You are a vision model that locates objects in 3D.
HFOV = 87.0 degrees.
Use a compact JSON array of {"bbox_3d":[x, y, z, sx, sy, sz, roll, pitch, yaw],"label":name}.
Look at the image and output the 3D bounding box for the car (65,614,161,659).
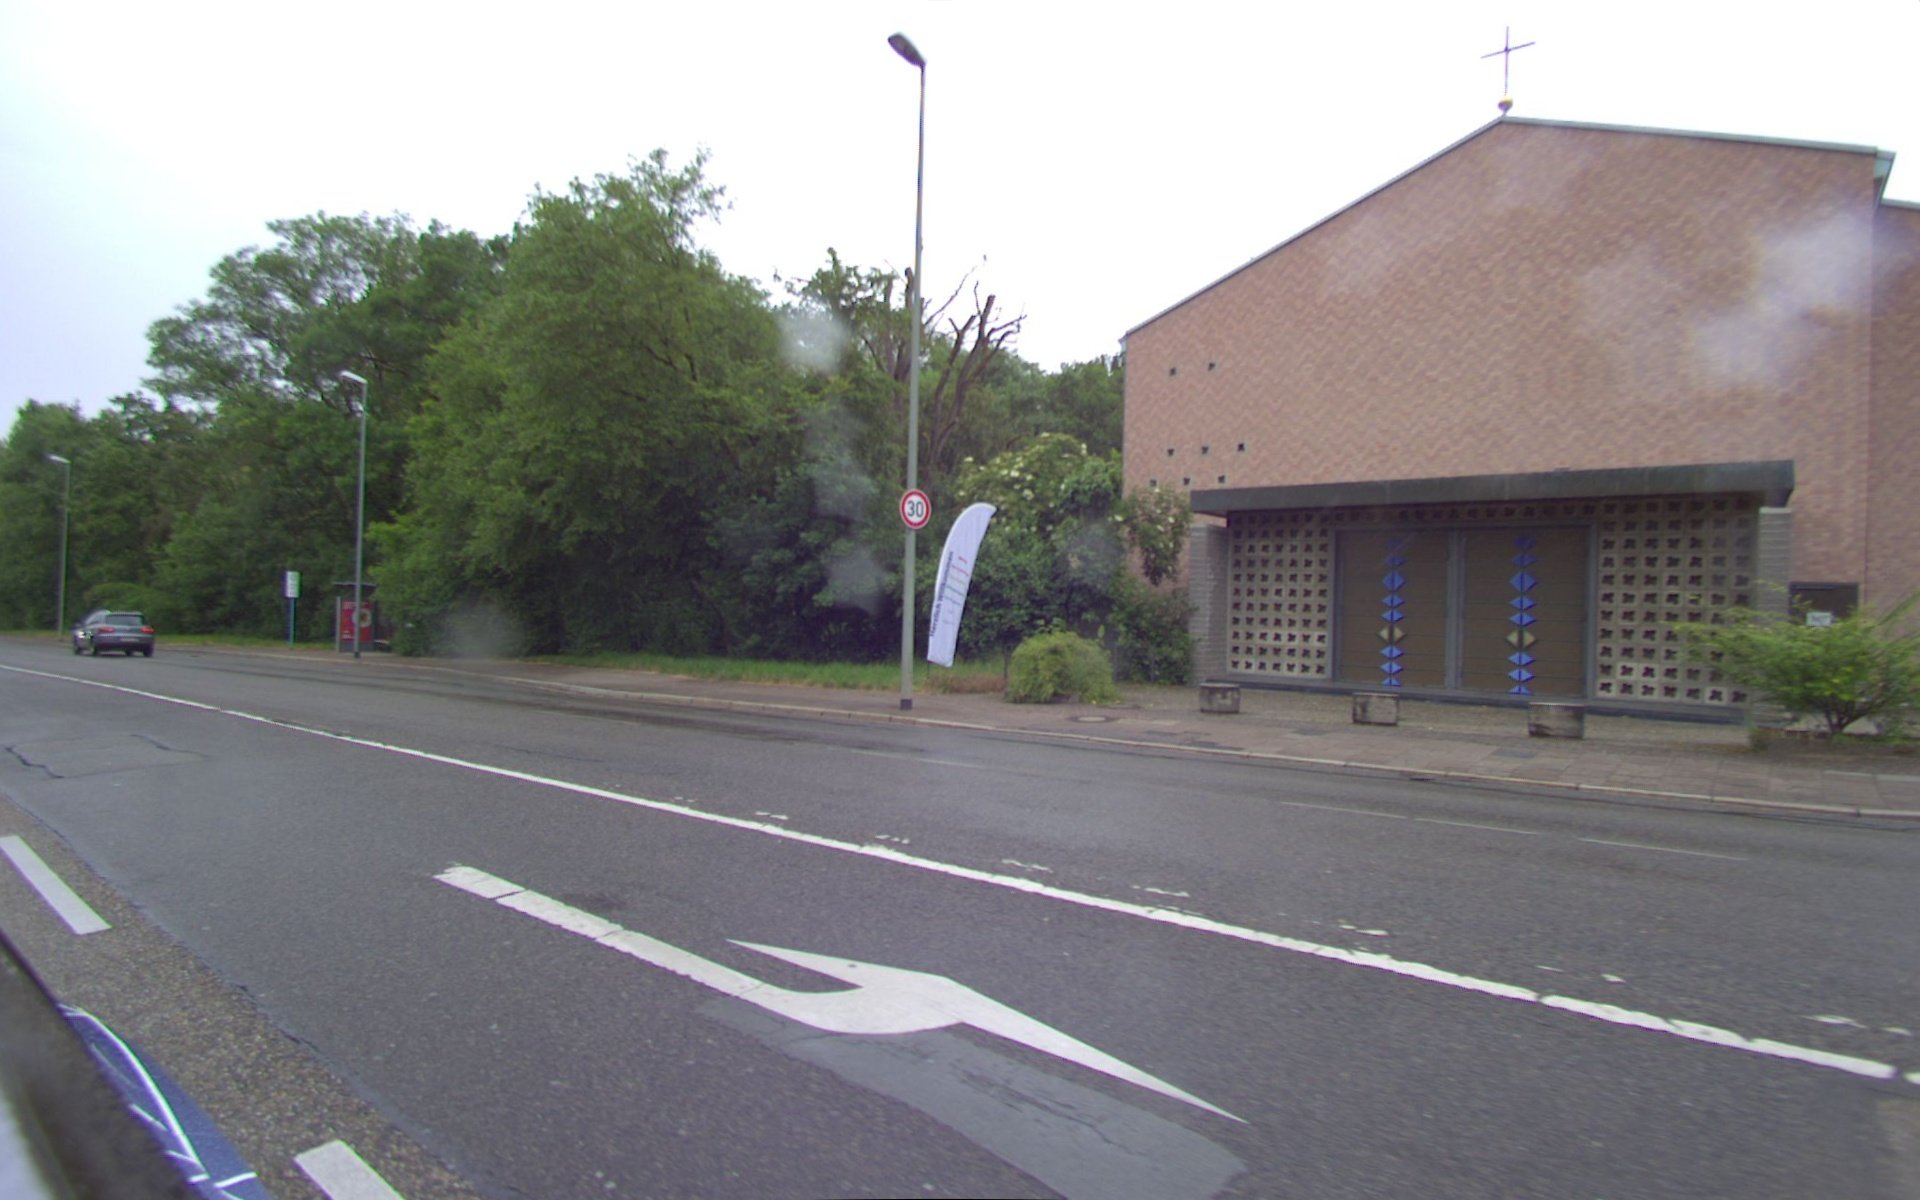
[{"bbox_3d":[-31.838,1.348,38.021,4.311,1.603,1.890,-1,-2,38],"label":"car"}]
